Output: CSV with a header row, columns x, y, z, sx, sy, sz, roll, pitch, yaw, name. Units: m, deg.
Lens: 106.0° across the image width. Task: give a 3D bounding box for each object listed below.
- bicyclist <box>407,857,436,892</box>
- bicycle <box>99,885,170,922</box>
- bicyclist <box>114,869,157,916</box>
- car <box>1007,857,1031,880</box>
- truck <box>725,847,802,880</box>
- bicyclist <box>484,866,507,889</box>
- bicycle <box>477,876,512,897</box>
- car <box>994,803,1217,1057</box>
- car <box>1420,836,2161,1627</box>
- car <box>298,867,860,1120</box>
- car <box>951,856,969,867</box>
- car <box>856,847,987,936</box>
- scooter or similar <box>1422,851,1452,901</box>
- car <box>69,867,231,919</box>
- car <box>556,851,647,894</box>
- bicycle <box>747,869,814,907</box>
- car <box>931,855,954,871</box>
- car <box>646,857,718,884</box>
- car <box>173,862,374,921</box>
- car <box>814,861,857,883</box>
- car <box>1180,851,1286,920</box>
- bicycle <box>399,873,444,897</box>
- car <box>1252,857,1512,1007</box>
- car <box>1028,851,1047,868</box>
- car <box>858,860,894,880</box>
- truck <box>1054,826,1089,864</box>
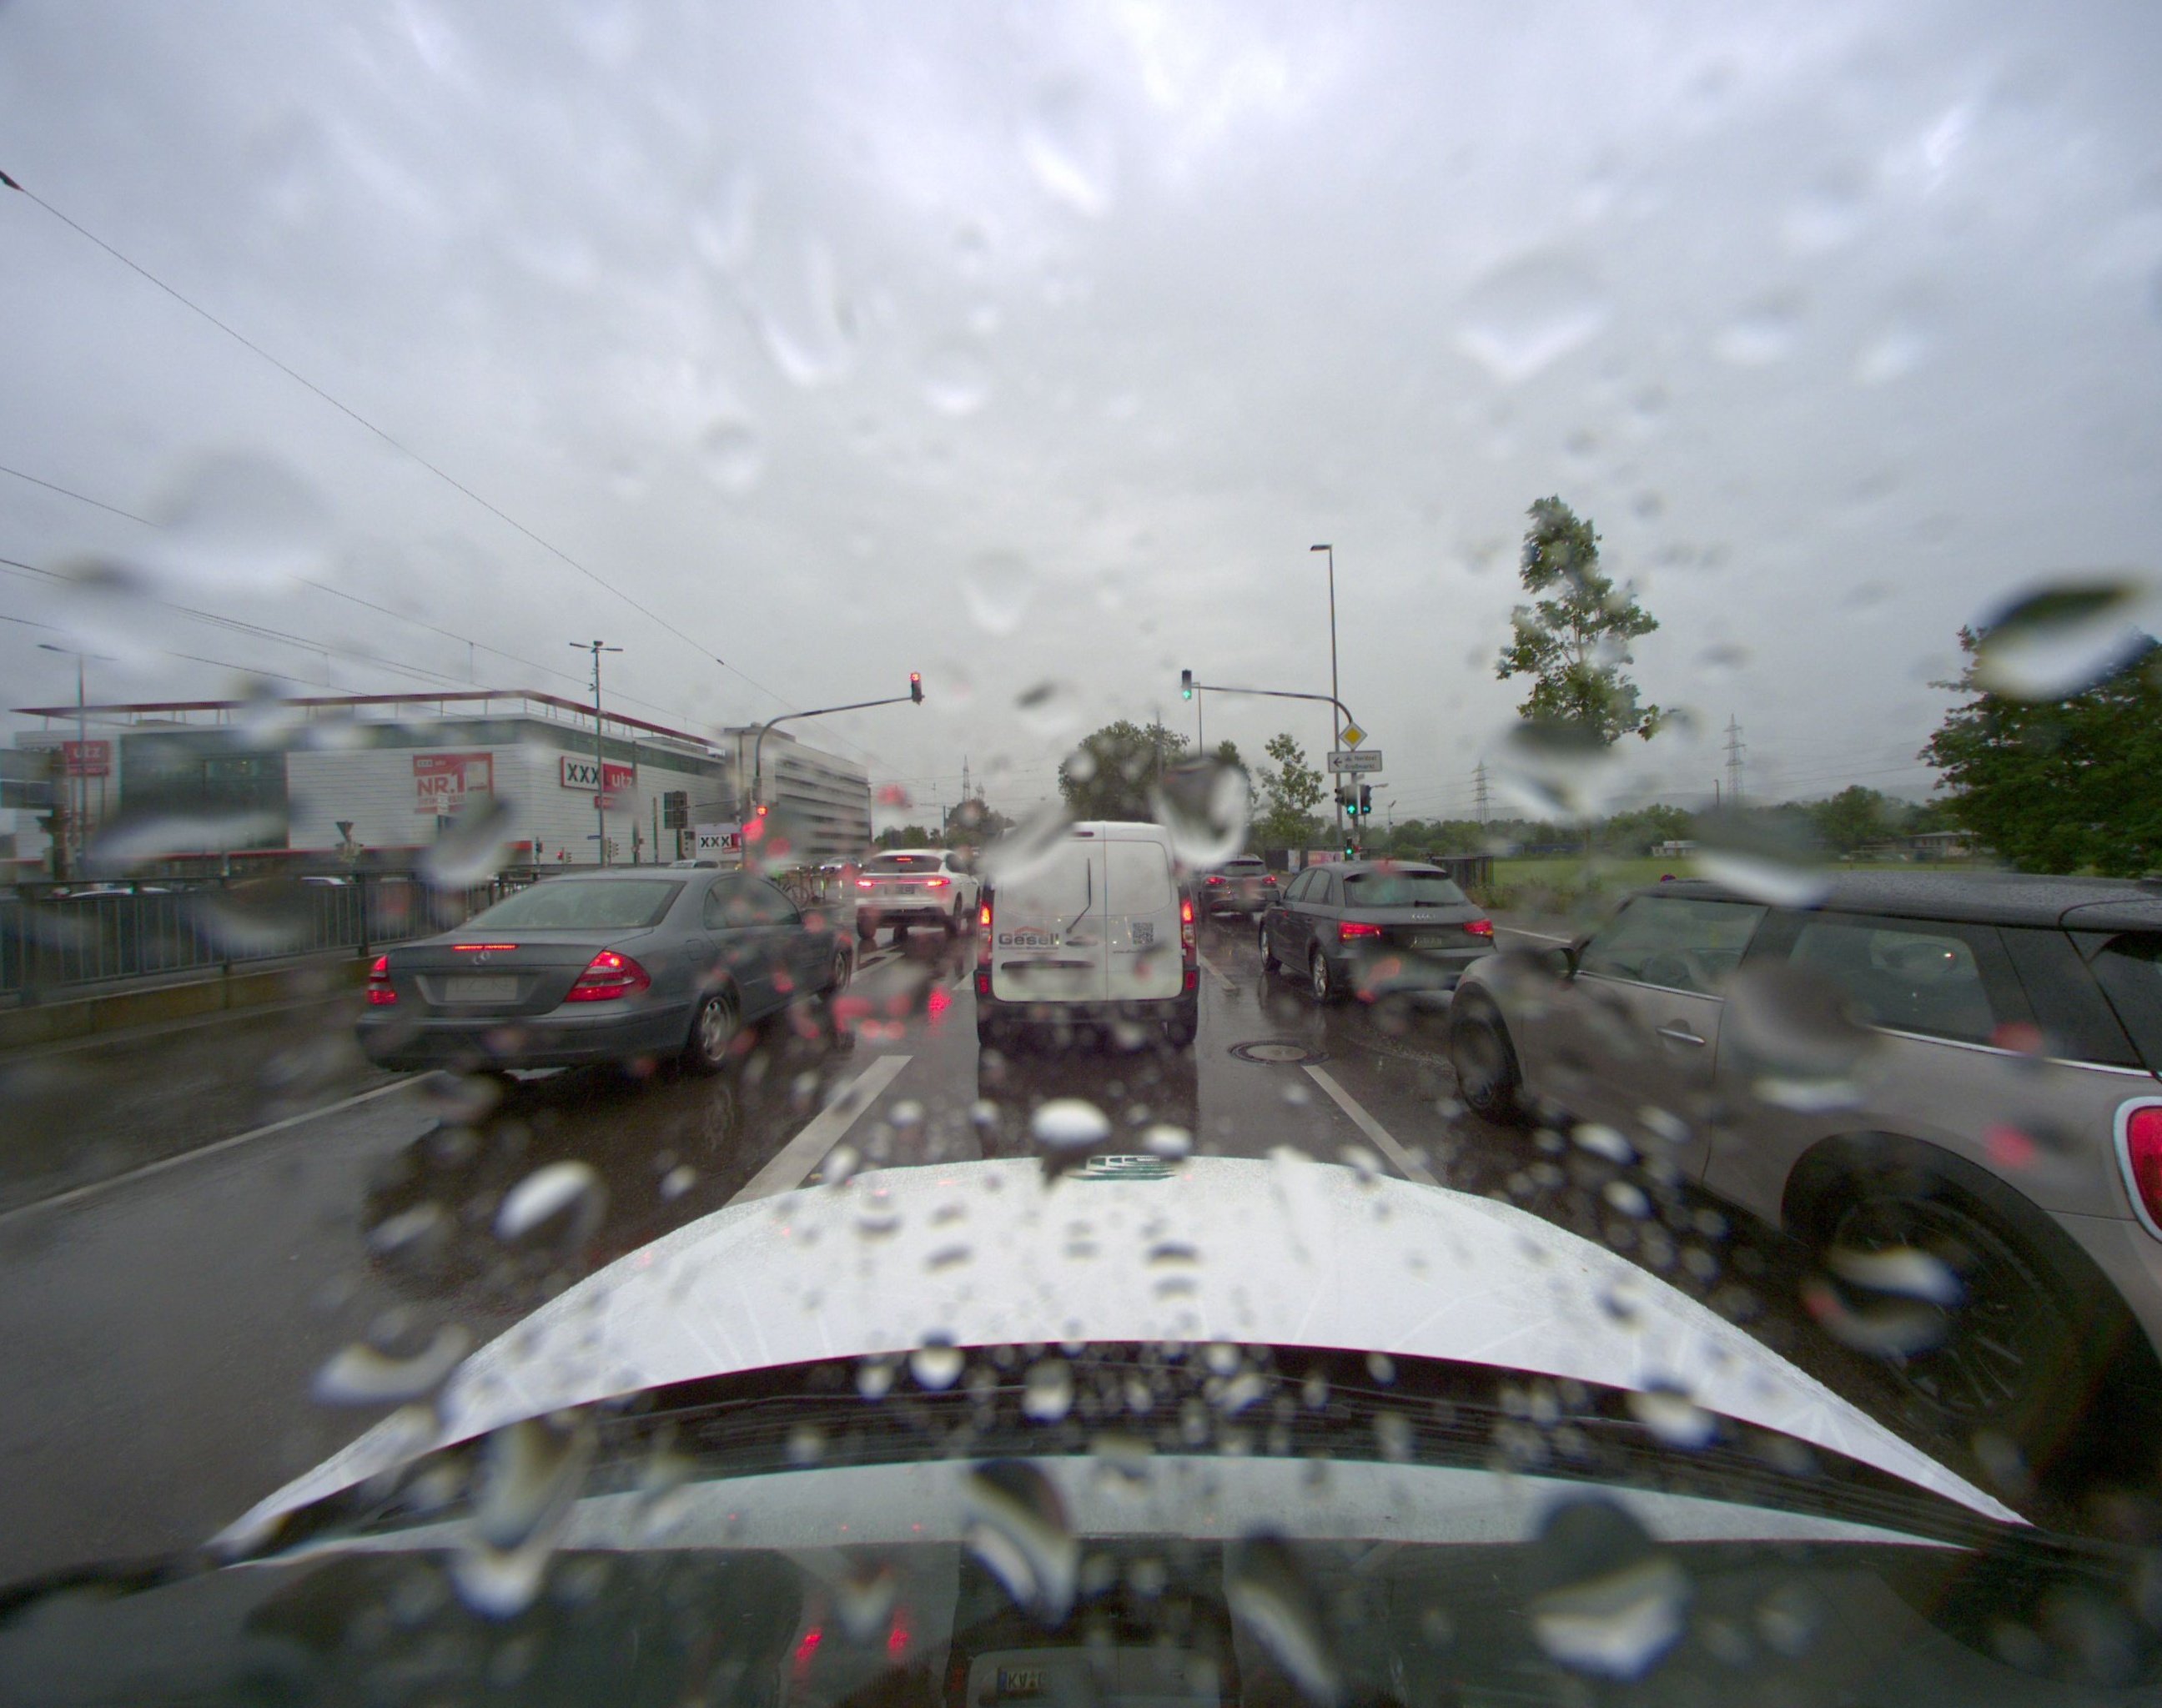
x,y,z,sx,sy,sz,roll,pitch,yaw,name
-27.916,0.847,34.458,0.681,1.464,0.647,0,-1,3,bicyclist
-28.792,1.496,24.807,0.409,1.061,1.508,0,-1,-1,bicycle
-28.760,1.171,24.791,0.531,1.399,0.650,0,-1,-1,bicyclist
-5.238,1.238,68.870,1.990,1.860,3.993,0,-1,-5,car
-22.983,0.682,59.429,2.342,2.279,7.637,0,0,2,truck
-29.515,1.170,41.049,0.681,1.134,0.647,0,-1,3,bicyclist
-29.568,1.630,41.071,0.448,0.987,1.710,0,-1,3,bicycle
0.237,0.552,7.802,1.560,1.788,4.002,-1,0,2,car
2.934,0.713,3.232,1.707,1.508,3.624,0,0,1,car
-3.455,0.820,6.902,1.755,1.398,4.646,0,-1,2,car
-17.412,1.018,117.096,1.755,1.549,3.683,0,-1,3,car
-3.028,0.643,16.354,1.723,1.535,4.298,0,0,1,car
8.496,0.515,19.467,0.244,1.158,1.187,0,-1,3,scooter or similar
-37.813,1.544,33.152,4.298,2.014,2.001,0,-1,1,car
-24.383,1.007,41.598,1.984,1.904,4.004,-5,-4,5,car
-8.806,0.996,23.879,1.745,1.034,0.414,2,-1,0,bicycle
-17.784,1.157,104.624,1.985,2.014,4.004,0,-1,3,car
-21.032,0.855,43.070,1.579,1.336,3.837,0,-1,6,car
-22.579,0.995,23.014,1.691,1.492,3.878,0,-1,2,car
-19.509,1.428,64.925,1.883,1.699,4.006,0,-1,6,car
3.466,0.665,19.218,1.853,1.428,3.808,0,0,1,car
-27.897,1.303,34.465,0.448,0.987,1.710,0,-1,3,bicycle
3.102,0.715,9.170,1.623,1.344,3.624,0,0,1,car
-5.188,0.660,97.134,1.987,1.860,3.999,1,-1,0,car
-18.765,1.435,74.688,1.919,1.827,4.007,0,-1,6,car
-0.744,-0.626,64.647,2.625,2.816,7.142,-1,-1,-1,truck
